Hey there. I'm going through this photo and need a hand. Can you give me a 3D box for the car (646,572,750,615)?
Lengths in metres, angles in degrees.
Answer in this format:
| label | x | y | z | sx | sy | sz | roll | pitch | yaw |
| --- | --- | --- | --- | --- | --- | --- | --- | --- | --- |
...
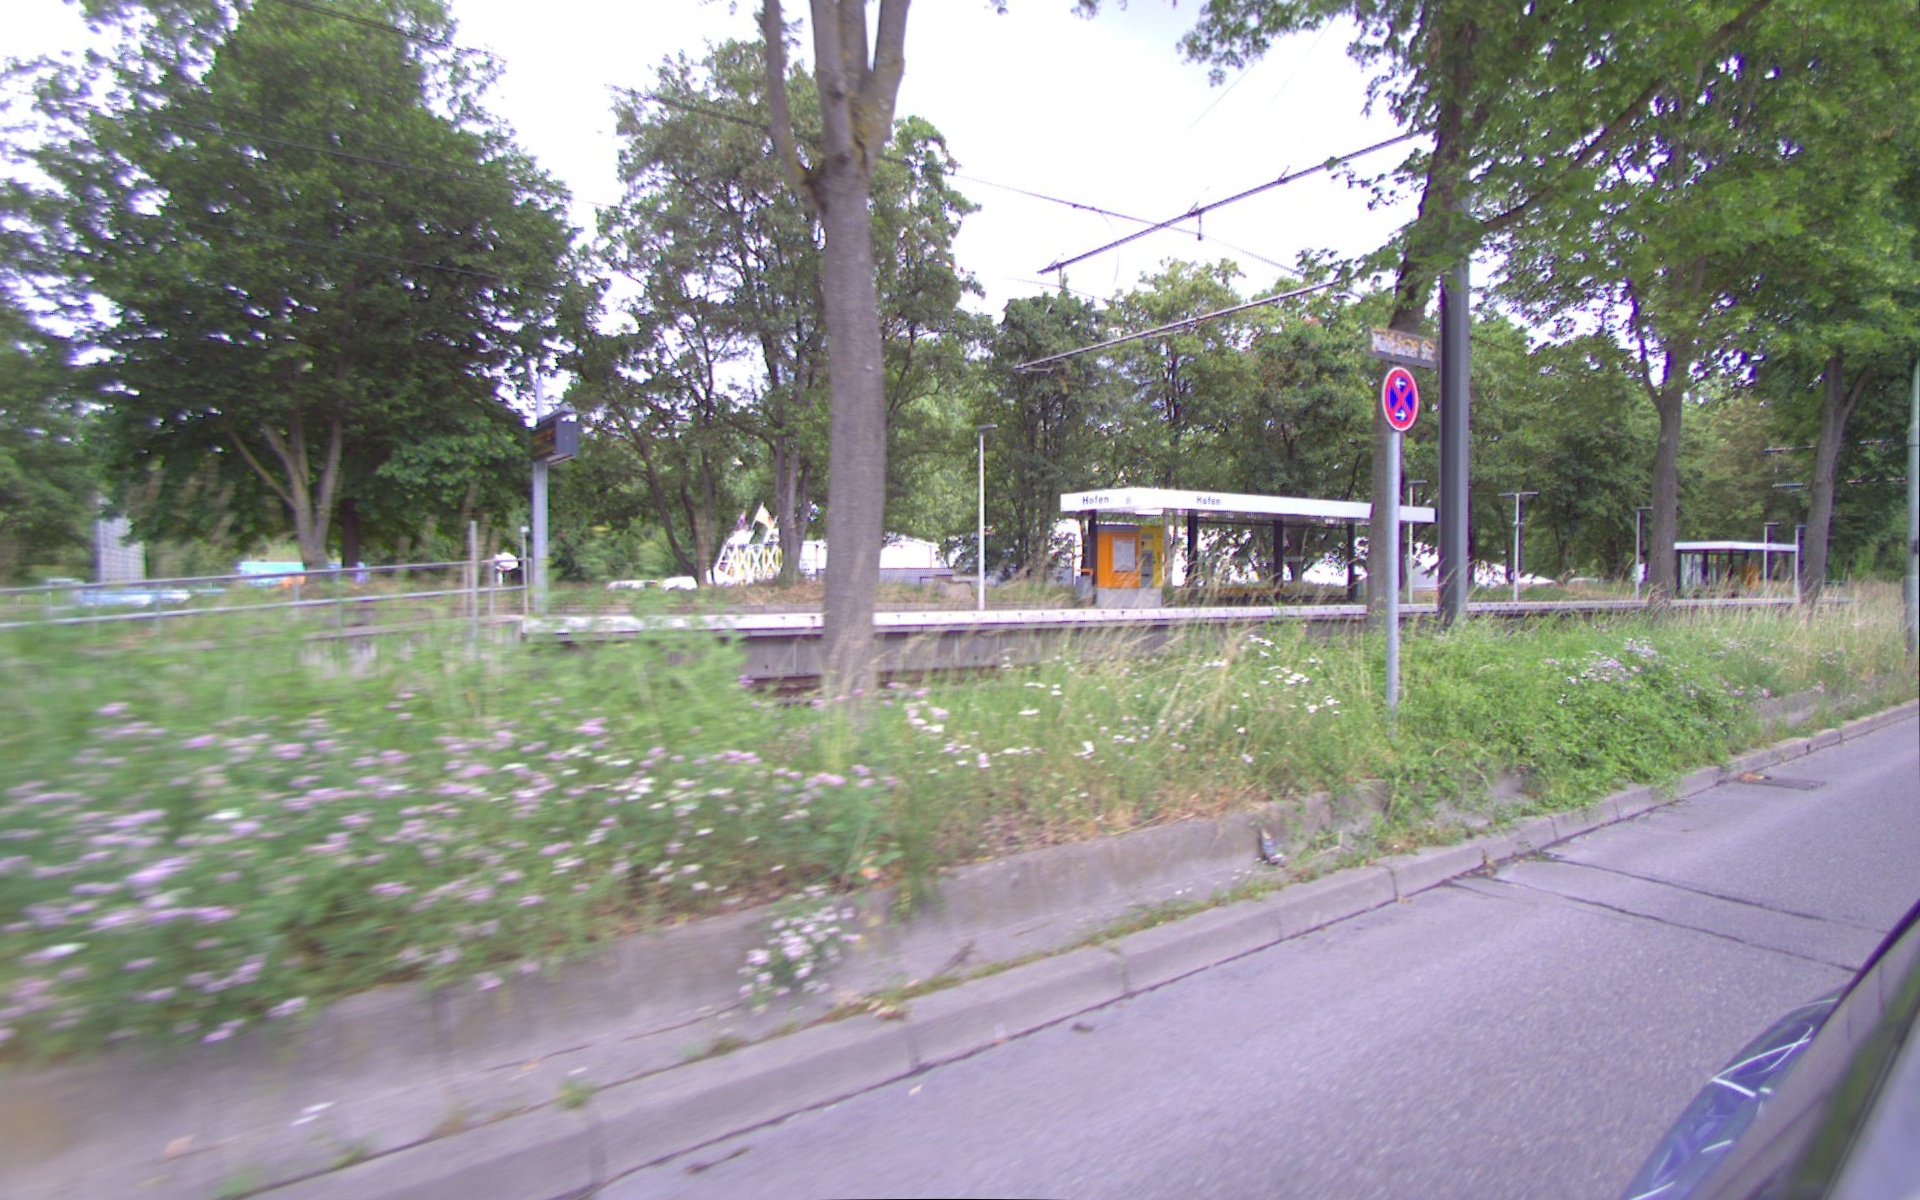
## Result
| label | x | y | z | sx | sy | sz | roll | pitch | yaw |
| --- | --- | --- | --- | --- | --- | --- | --- | --- | --- |
| car | -15.519 | -0.391 | 60.124 | 5.699 | 2.413 | 1.999 | 0 | 0 | -37 |
